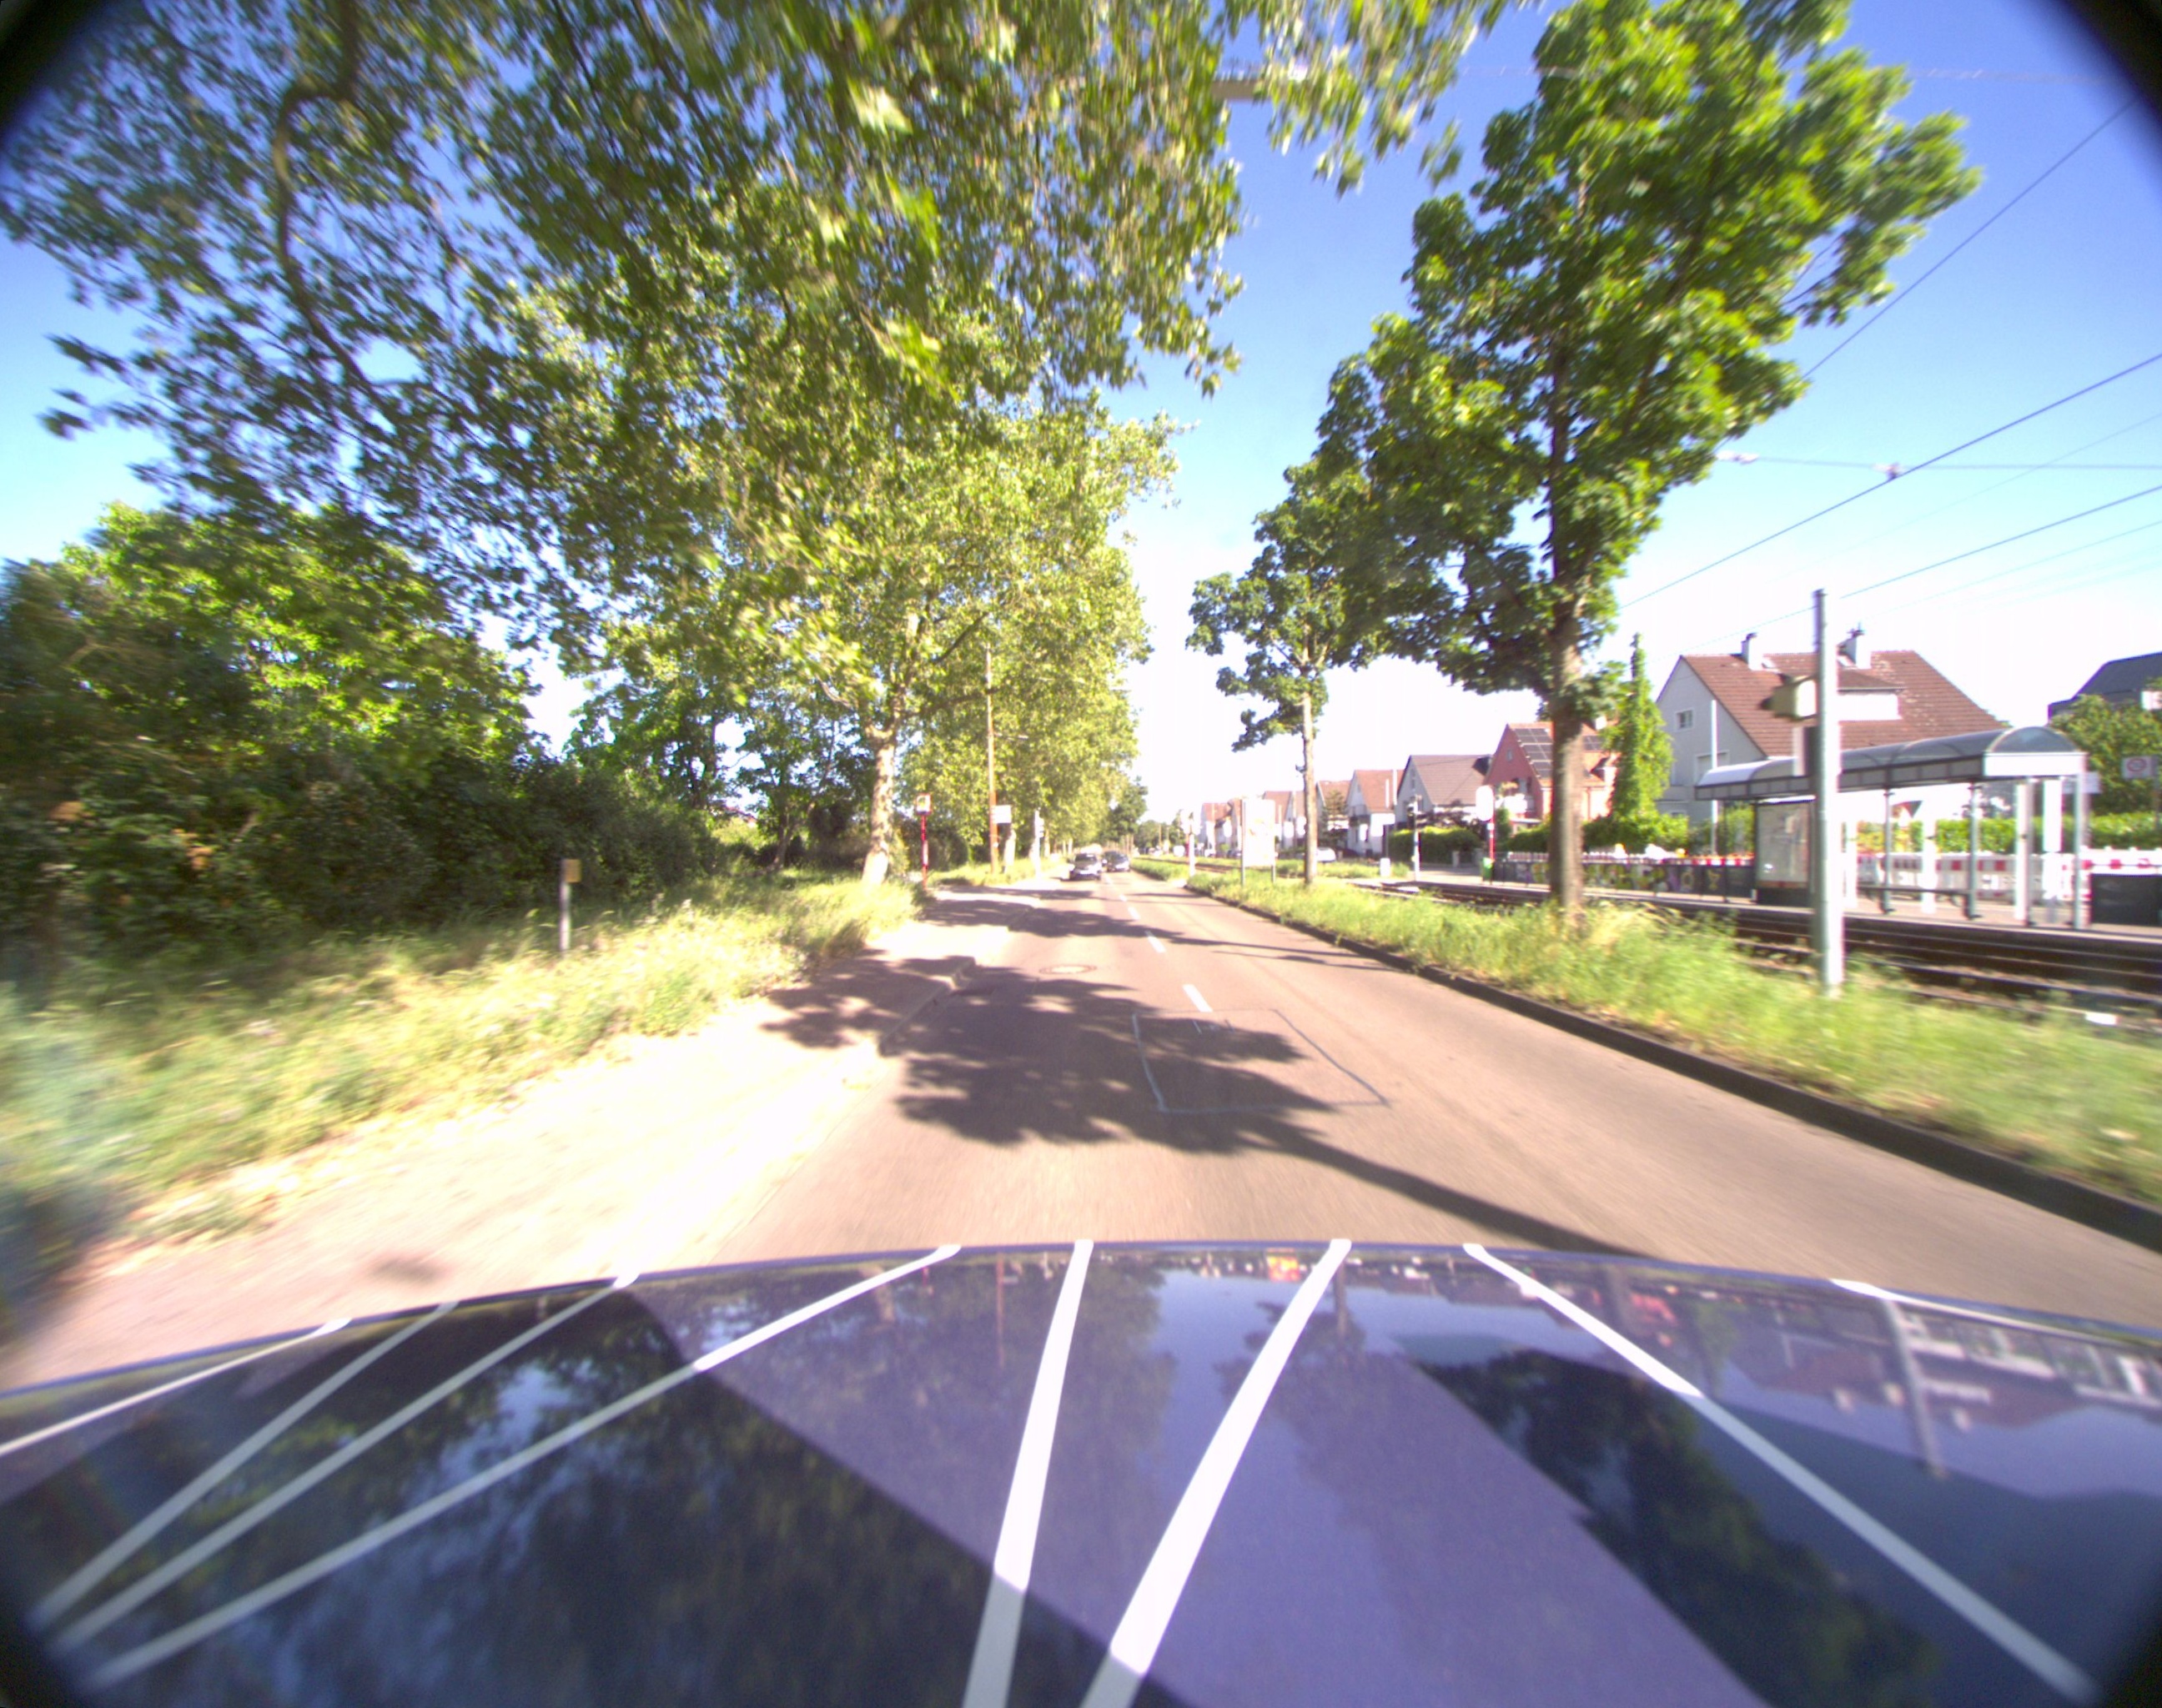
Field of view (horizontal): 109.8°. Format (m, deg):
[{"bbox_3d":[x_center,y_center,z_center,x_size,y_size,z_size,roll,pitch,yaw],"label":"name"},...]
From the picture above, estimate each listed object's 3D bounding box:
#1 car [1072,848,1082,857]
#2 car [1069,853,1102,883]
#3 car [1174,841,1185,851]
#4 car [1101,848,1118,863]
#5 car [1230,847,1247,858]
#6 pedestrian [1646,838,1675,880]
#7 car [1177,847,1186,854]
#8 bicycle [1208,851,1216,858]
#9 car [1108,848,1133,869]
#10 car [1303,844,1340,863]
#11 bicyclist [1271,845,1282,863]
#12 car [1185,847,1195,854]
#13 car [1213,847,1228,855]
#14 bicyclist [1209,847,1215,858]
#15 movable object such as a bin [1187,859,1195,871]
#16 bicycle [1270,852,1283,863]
[{"bbox_3d":[-0.693,-0.267,136.275,1.692,1.499,3.582,-2,1,1],"label":"car"},{"bbox_3d":[0.277,0.749,43.479,1.692,1.499,3.582,-4,1,1],"label":"car"},{"bbox_3d":[23.826,-1.905,183.901,2.132,2.210,4.000,-2,1,4],"label":"car"},{"bbox_3d":[3.085,0.153,81.728,1.692,1.499,3.582,-2,1,1],"label":"car"},{"bbox_3d":[23.024,-0.279,110.921,1.738,1.481,3.755,-2,1,1],"label":"car"},{"bbox_3d":[21.638,0.197,28.370,0.792,1.525,0.815,-2,-1,39],"label":"pedestrian"},{"bbox_3d":[23.596,-0.854,179.230,1.791,1.497,4.000,-2,1,4],"label":"car"},{"bbox_3d":[20.522,0.099,118.811,0.854,0.946,2.309,-2,1,1],"label":"bicycle"},{"bbox_3d":[3.018,0.351,58.670,1.692,1.499,3.582,-2,1,1],"label":"car"},{"bbox_3d":[22.593,-0.110,71.678,1.998,1.668,4.839,-2,1,1],"label":"car"},{"bbox_3d":[20.536,-0.027,79.885,0.854,1.876,1.072,-2,1,1],"label":"bicyclist"},{"bbox_3d":[23.700,-0.783,165.223,1.791,1.497,4.000,-2,1,1],"label":"car"},{"bbox_3d":[23.408,-0.531,127.476,1.756,1.373,3.823,-2,1,1],"label":"car"},{"bbox_3d":[20.500,-0.235,118.752,0.853,1.665,0.837,-2,1,2],"label":"bicyclist"},{"bbox_3d":[5.837,0.585,40.331,0.387,0.579,0.379,-2,1,9],"label":"movable object such as a bin"},{"bbox_3d":[20.548,0.332,79.953,0.854,1.128,2.309,-2,1,1],"label":"bicycle"}]
